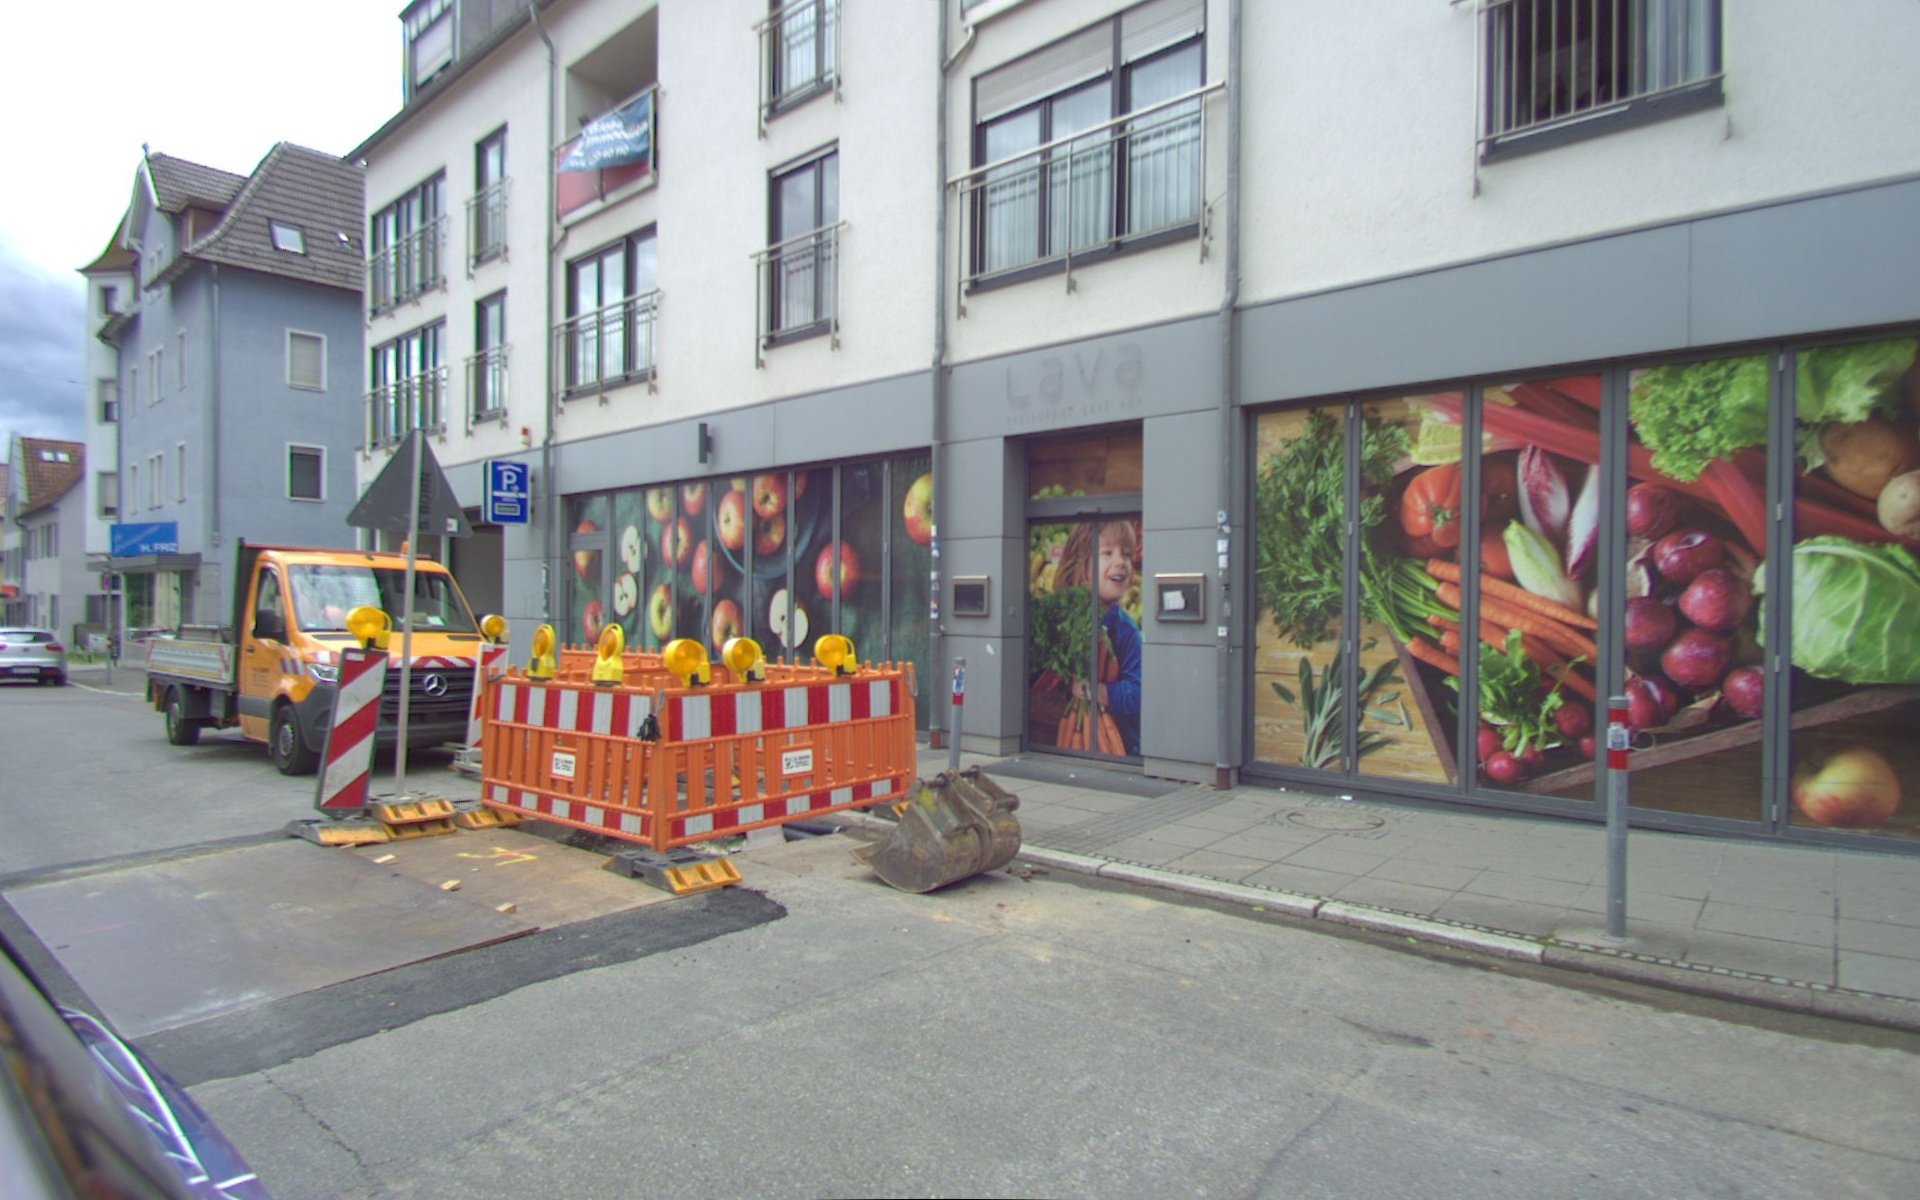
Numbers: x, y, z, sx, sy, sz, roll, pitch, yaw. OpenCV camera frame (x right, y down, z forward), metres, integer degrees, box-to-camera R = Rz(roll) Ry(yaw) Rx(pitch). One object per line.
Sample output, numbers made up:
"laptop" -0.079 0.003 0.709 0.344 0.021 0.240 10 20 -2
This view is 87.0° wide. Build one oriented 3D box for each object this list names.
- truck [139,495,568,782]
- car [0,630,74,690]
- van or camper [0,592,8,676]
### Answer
"truck" -7.270 0.433 11.748 6.303 2.485 2.389 -2 -2 40
"car" -24.150 1.490 25.650 3.993 1.422 1.781 -2 -2 37
"van or camper" -29.858 1.008 29.161 2.287 2.627 6.225 0 -2 -32
